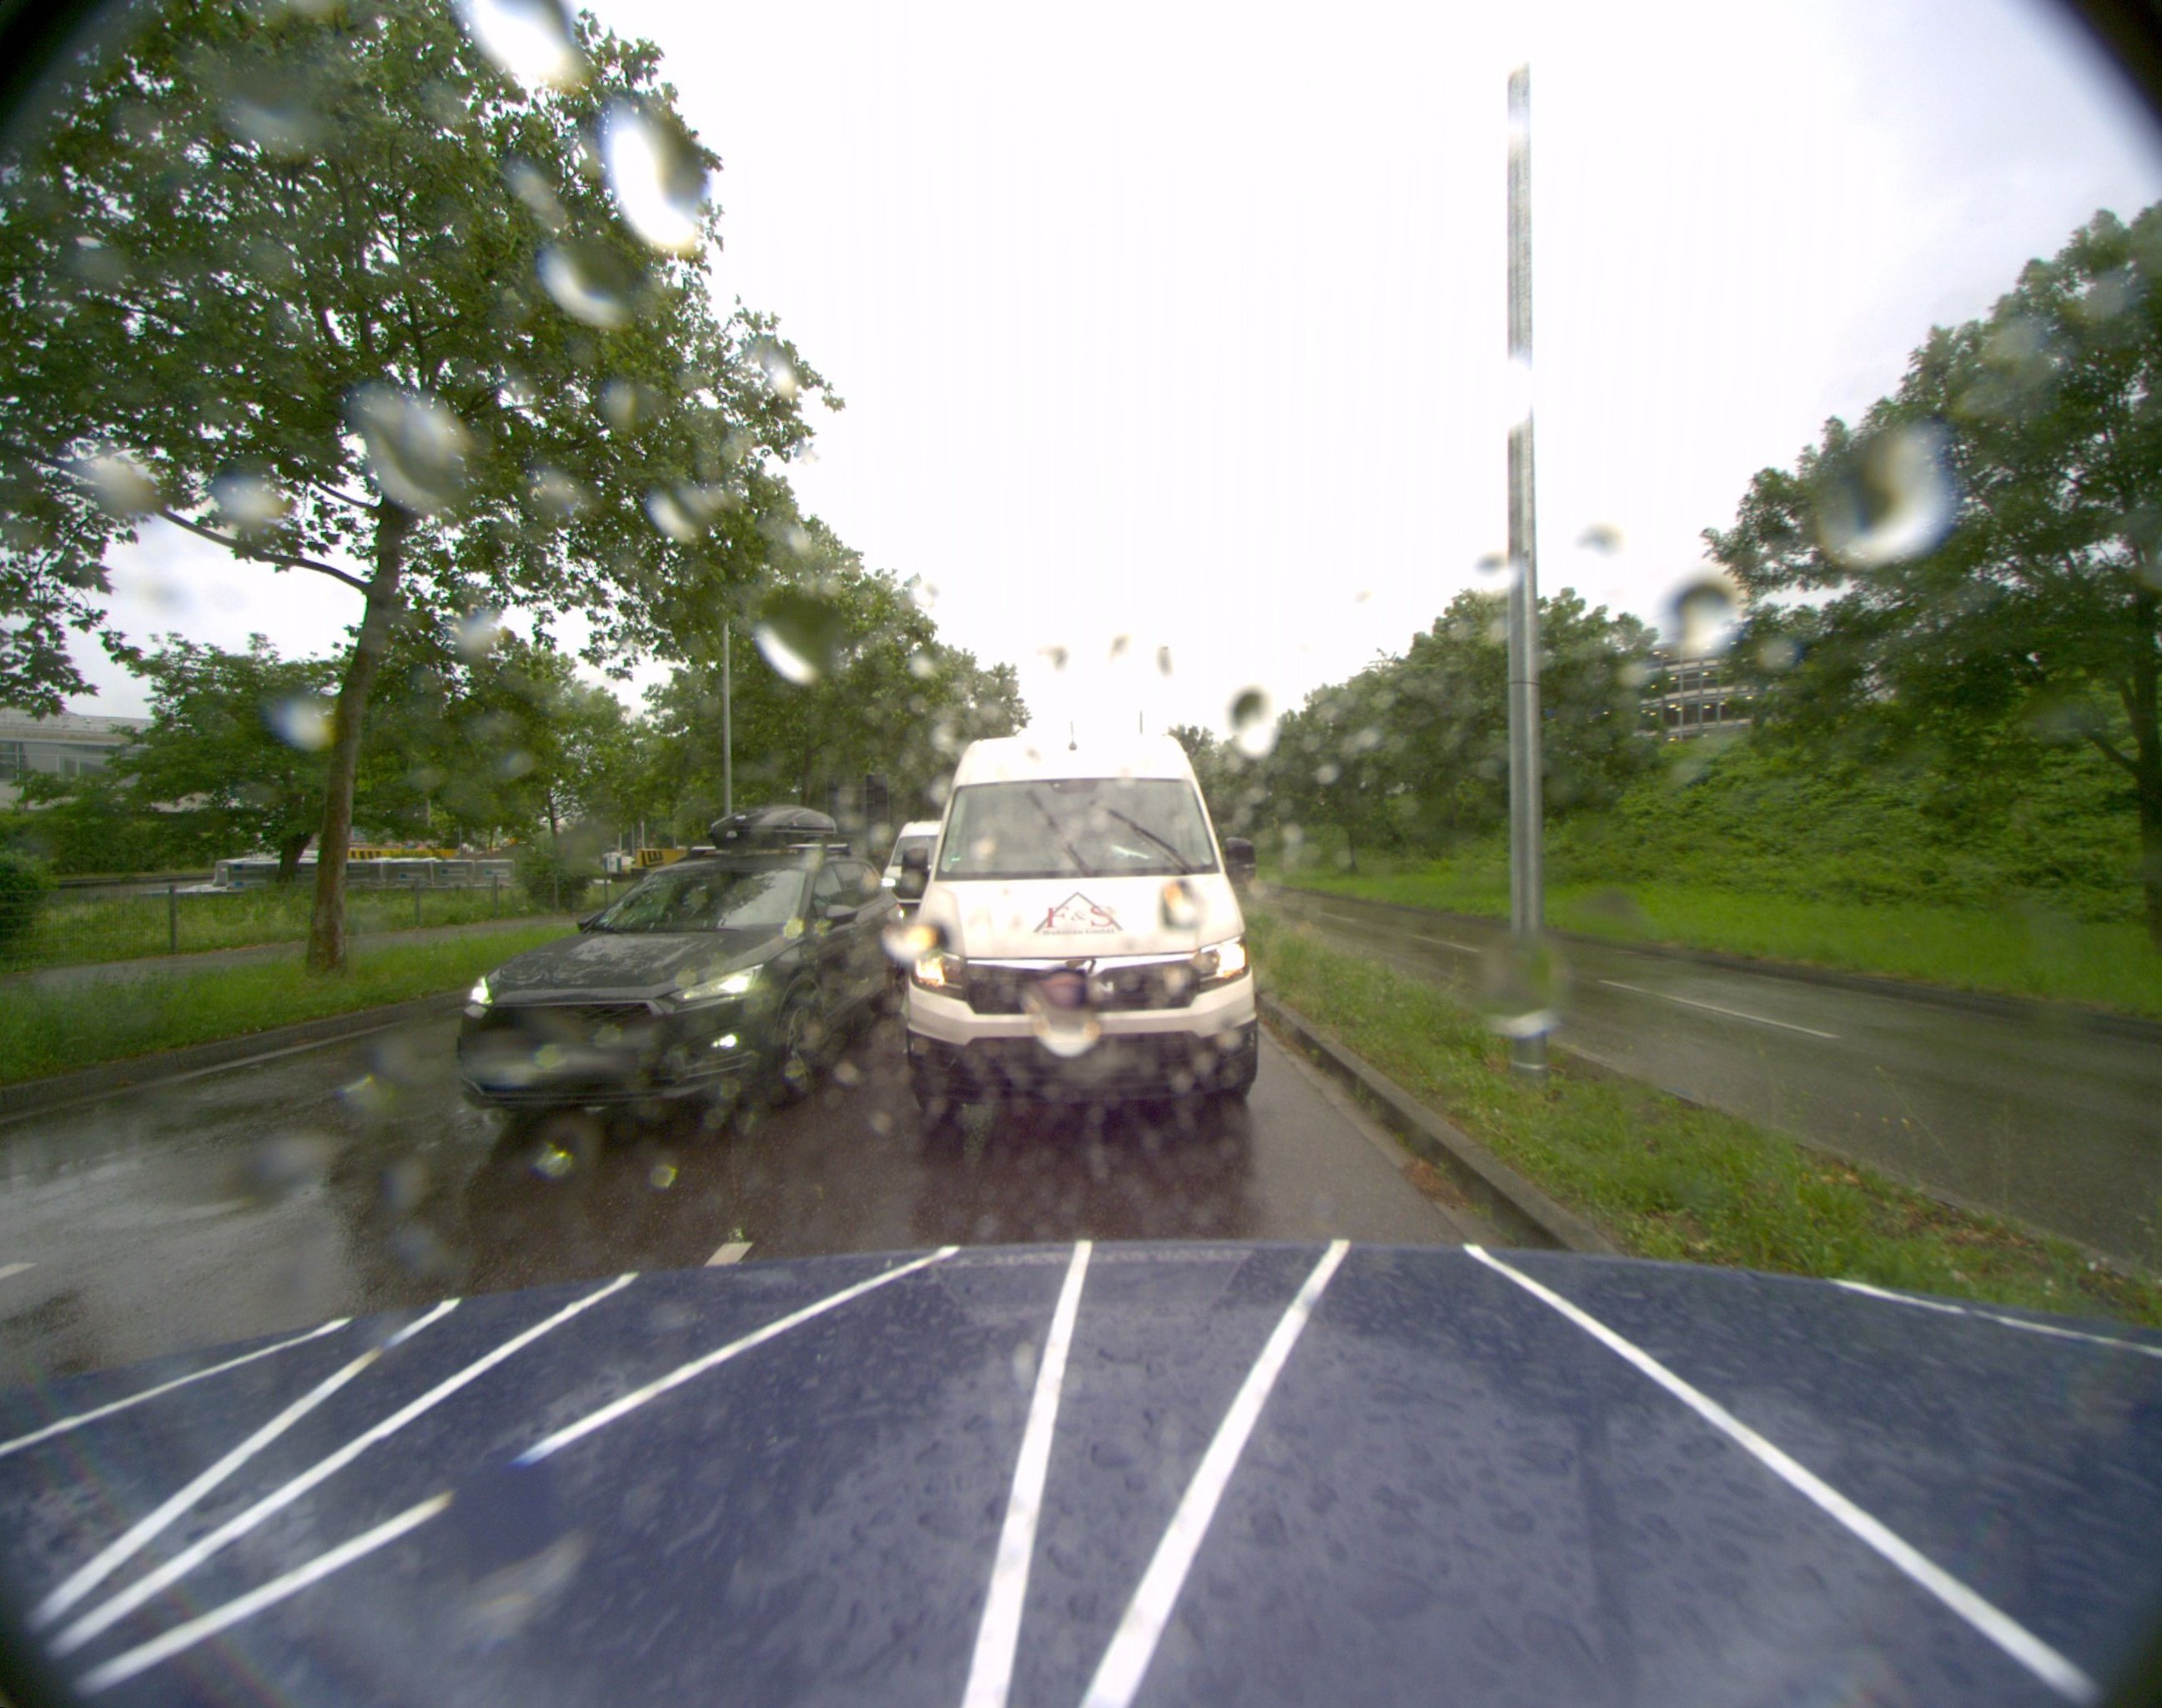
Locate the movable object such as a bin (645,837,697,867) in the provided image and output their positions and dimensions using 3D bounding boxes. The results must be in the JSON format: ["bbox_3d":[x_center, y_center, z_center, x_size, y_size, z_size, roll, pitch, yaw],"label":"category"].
[{"bbox_3d":[-48.293,-0.253,89.529,1.913,3.415,4.947,-1,1,42],"label":"movable object such as a bin"}]

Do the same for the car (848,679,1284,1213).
[{"bbox_3d":[-0.113,0.427,6.453,2.027,2.498,5.695,-1,0,-1],"label":"car"}]

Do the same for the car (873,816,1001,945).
[{"bbox_3d":[-3.018,0.501,17.142,1.894,2.432,5.317,-1,0,-1],"label":"car"}]

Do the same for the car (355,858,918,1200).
[{"bbox_3d":[-2.751,0.913,6.113,1.894,1.688,4.423,-1,0,0],"label":"car"}]

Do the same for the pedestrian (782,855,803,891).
[{"bbox_3d":[-13.786,0.898,36.314,0.646,1.707,0.656,-2,1,1],"label":"pedestrian"}]

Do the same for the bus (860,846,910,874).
[{"bbox_3d":[-19.142,0.561,74.386,4.370,2.553,1.711,-2,1,0],"label":"bus"}]
